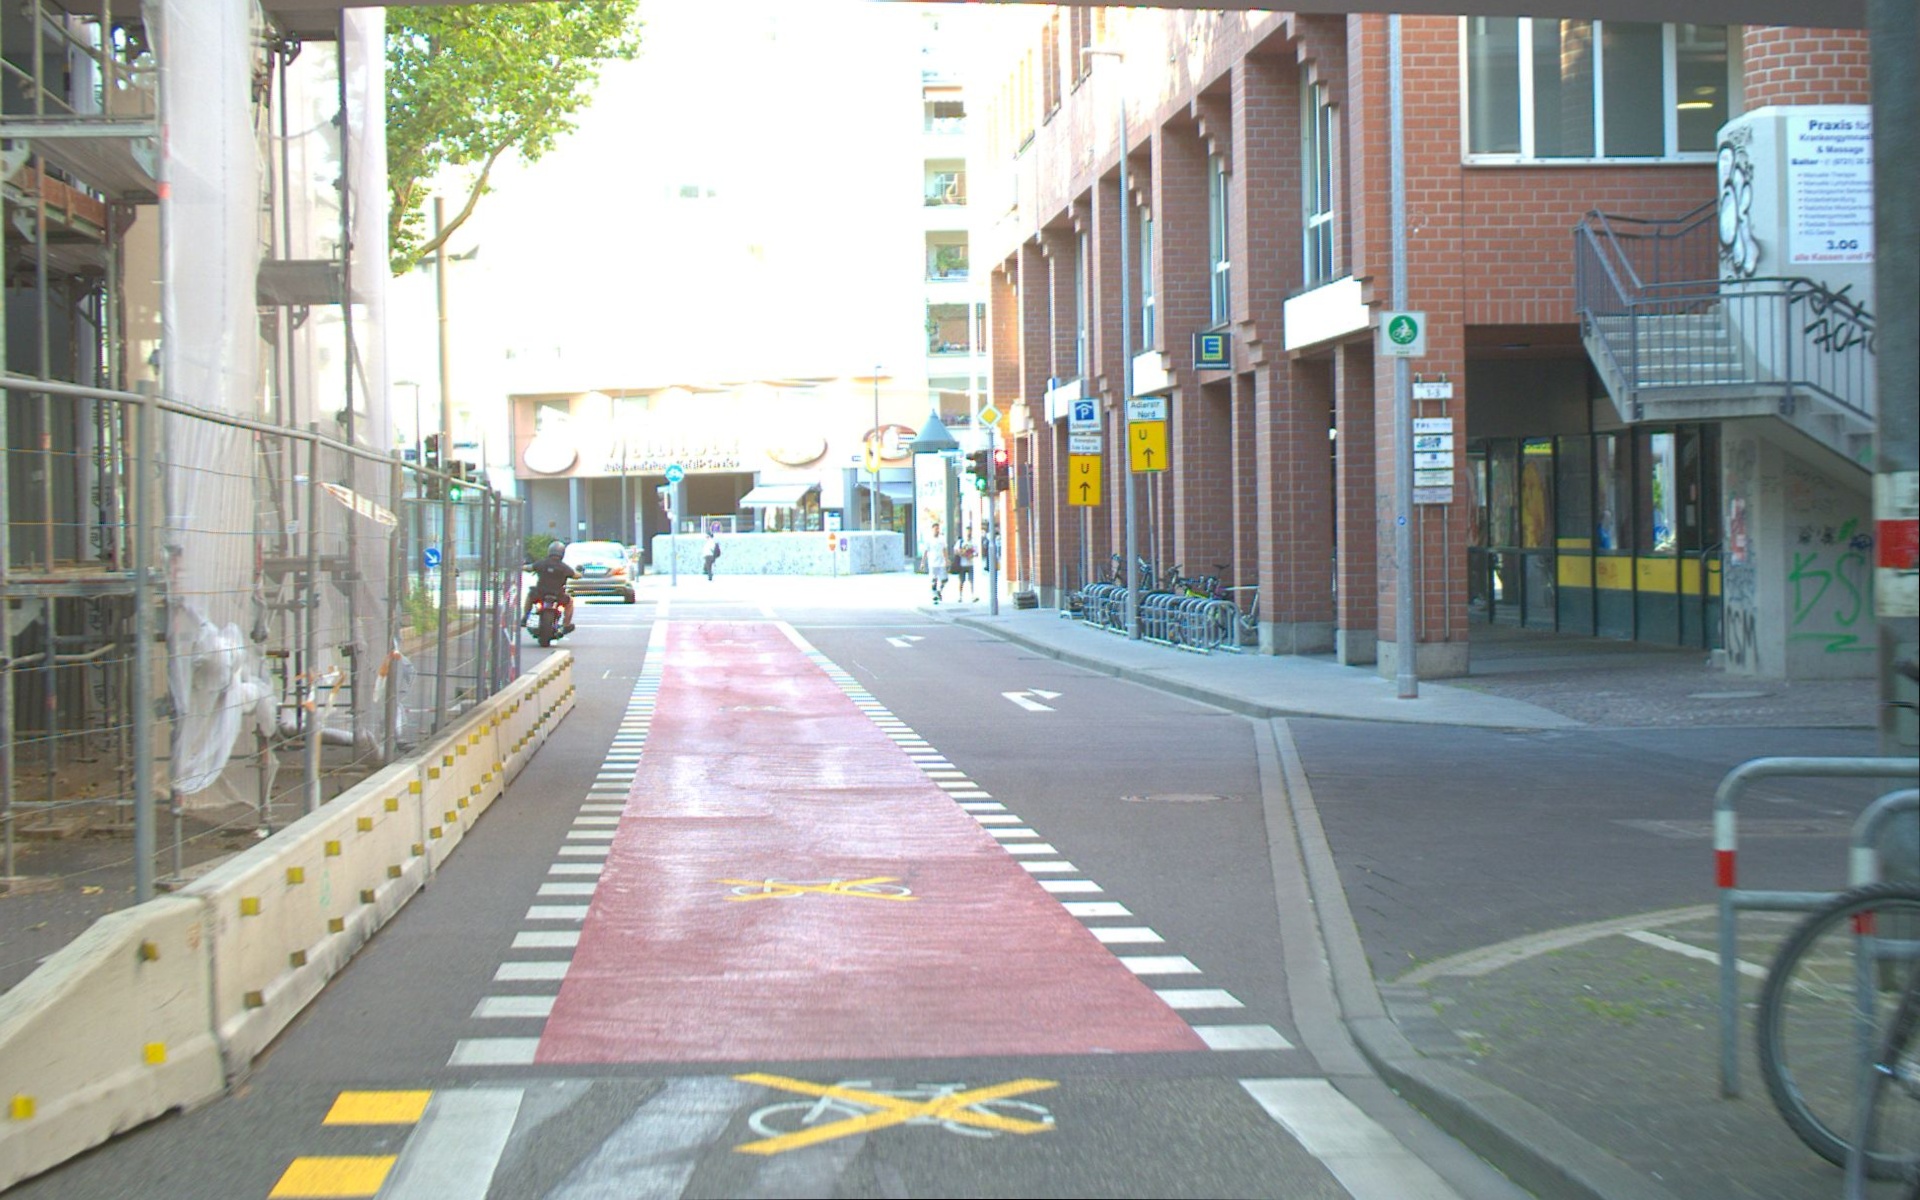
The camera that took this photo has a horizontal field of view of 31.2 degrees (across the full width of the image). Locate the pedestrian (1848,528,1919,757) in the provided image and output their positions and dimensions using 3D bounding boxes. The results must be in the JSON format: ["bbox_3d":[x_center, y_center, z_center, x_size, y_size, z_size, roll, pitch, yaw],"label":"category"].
[{"bbox_3d":[6.836,0.294,24.848,0.569,1.627,0.778,0,1,-6],"label":"pedestrian"}]

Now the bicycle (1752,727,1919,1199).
[{"bbox_3d":[2.396,0.803,6.501,1.680,1.064,0.500,0,1,30],"label":"bicycle"}]

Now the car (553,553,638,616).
[{"bbox_3d":[-8.614,-0.383,81.080,1.923,1.384,4.001,-1,1,-7],"label":"car"}]

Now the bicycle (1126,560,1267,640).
[{"bbox_3d":[3.405,-0.002,49.594,1.932,1.053,0.573,-3,1,-1],"label":"bicycle"}]

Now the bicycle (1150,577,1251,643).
[{"bbox_3d":[3.376,0.143,48.242,1.334,0.838,0.425,-3,1,-3],"label":"bicycle"}]

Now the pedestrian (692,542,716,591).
[{"bbox_3d":[-8.362,-1.085,112.264,0.557,1.578,0.539,0,2,43],"label":"pedestrian"}]

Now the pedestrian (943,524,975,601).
[{"bbox_3d":[-0.024,-0.845,77.288,0.633,1.719,0.630,-1,1,-5],"label":"pedestrian"}]

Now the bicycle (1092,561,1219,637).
[{"bbox_3d":[3.010,-0.020,52.949,1.891,1.115,0.475,-2,1,-4],"label":"bicycle"}]

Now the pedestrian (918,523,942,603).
[{"bbox_3d":[-0.683,-0.840,77.207,0.475,1.786,0.541,-1,1,-5],"label":"pedestrian"}]

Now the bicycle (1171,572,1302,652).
[{"bbox_3d":[3.653,0.155,45.503,1.611,0.951,0.555,-3,1,-3],"label":"bicycle"}]

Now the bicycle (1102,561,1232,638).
[{"bbox_3d":[3.152,-0.015,52.346,1.891,1.115,0.550,-2,1,-4],"label":"bicycle"}]

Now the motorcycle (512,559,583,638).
[{"bbox_3d":[-6.155,-0.033,51.454,0.973,1.128,2.805,0,1,-5],"label":"motorcycle"}]

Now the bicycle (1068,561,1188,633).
[{"bbox_3d":[2.762,-0.053,56.486,1.891,1.115,0.475,-2,1,-4],"label":"bicycle"}]

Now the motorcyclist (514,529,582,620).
[{"bbox_3d":[-6.146,-0.387,51.356,0.970,1.342,1.138,0,1,-5],"label":"motorcyclist"}]

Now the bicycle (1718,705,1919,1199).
[{"bbox_3d":[2.521,0.784,7.364,1.680,1.064,0.500,0,1,30],"label":"bicycle"}]
